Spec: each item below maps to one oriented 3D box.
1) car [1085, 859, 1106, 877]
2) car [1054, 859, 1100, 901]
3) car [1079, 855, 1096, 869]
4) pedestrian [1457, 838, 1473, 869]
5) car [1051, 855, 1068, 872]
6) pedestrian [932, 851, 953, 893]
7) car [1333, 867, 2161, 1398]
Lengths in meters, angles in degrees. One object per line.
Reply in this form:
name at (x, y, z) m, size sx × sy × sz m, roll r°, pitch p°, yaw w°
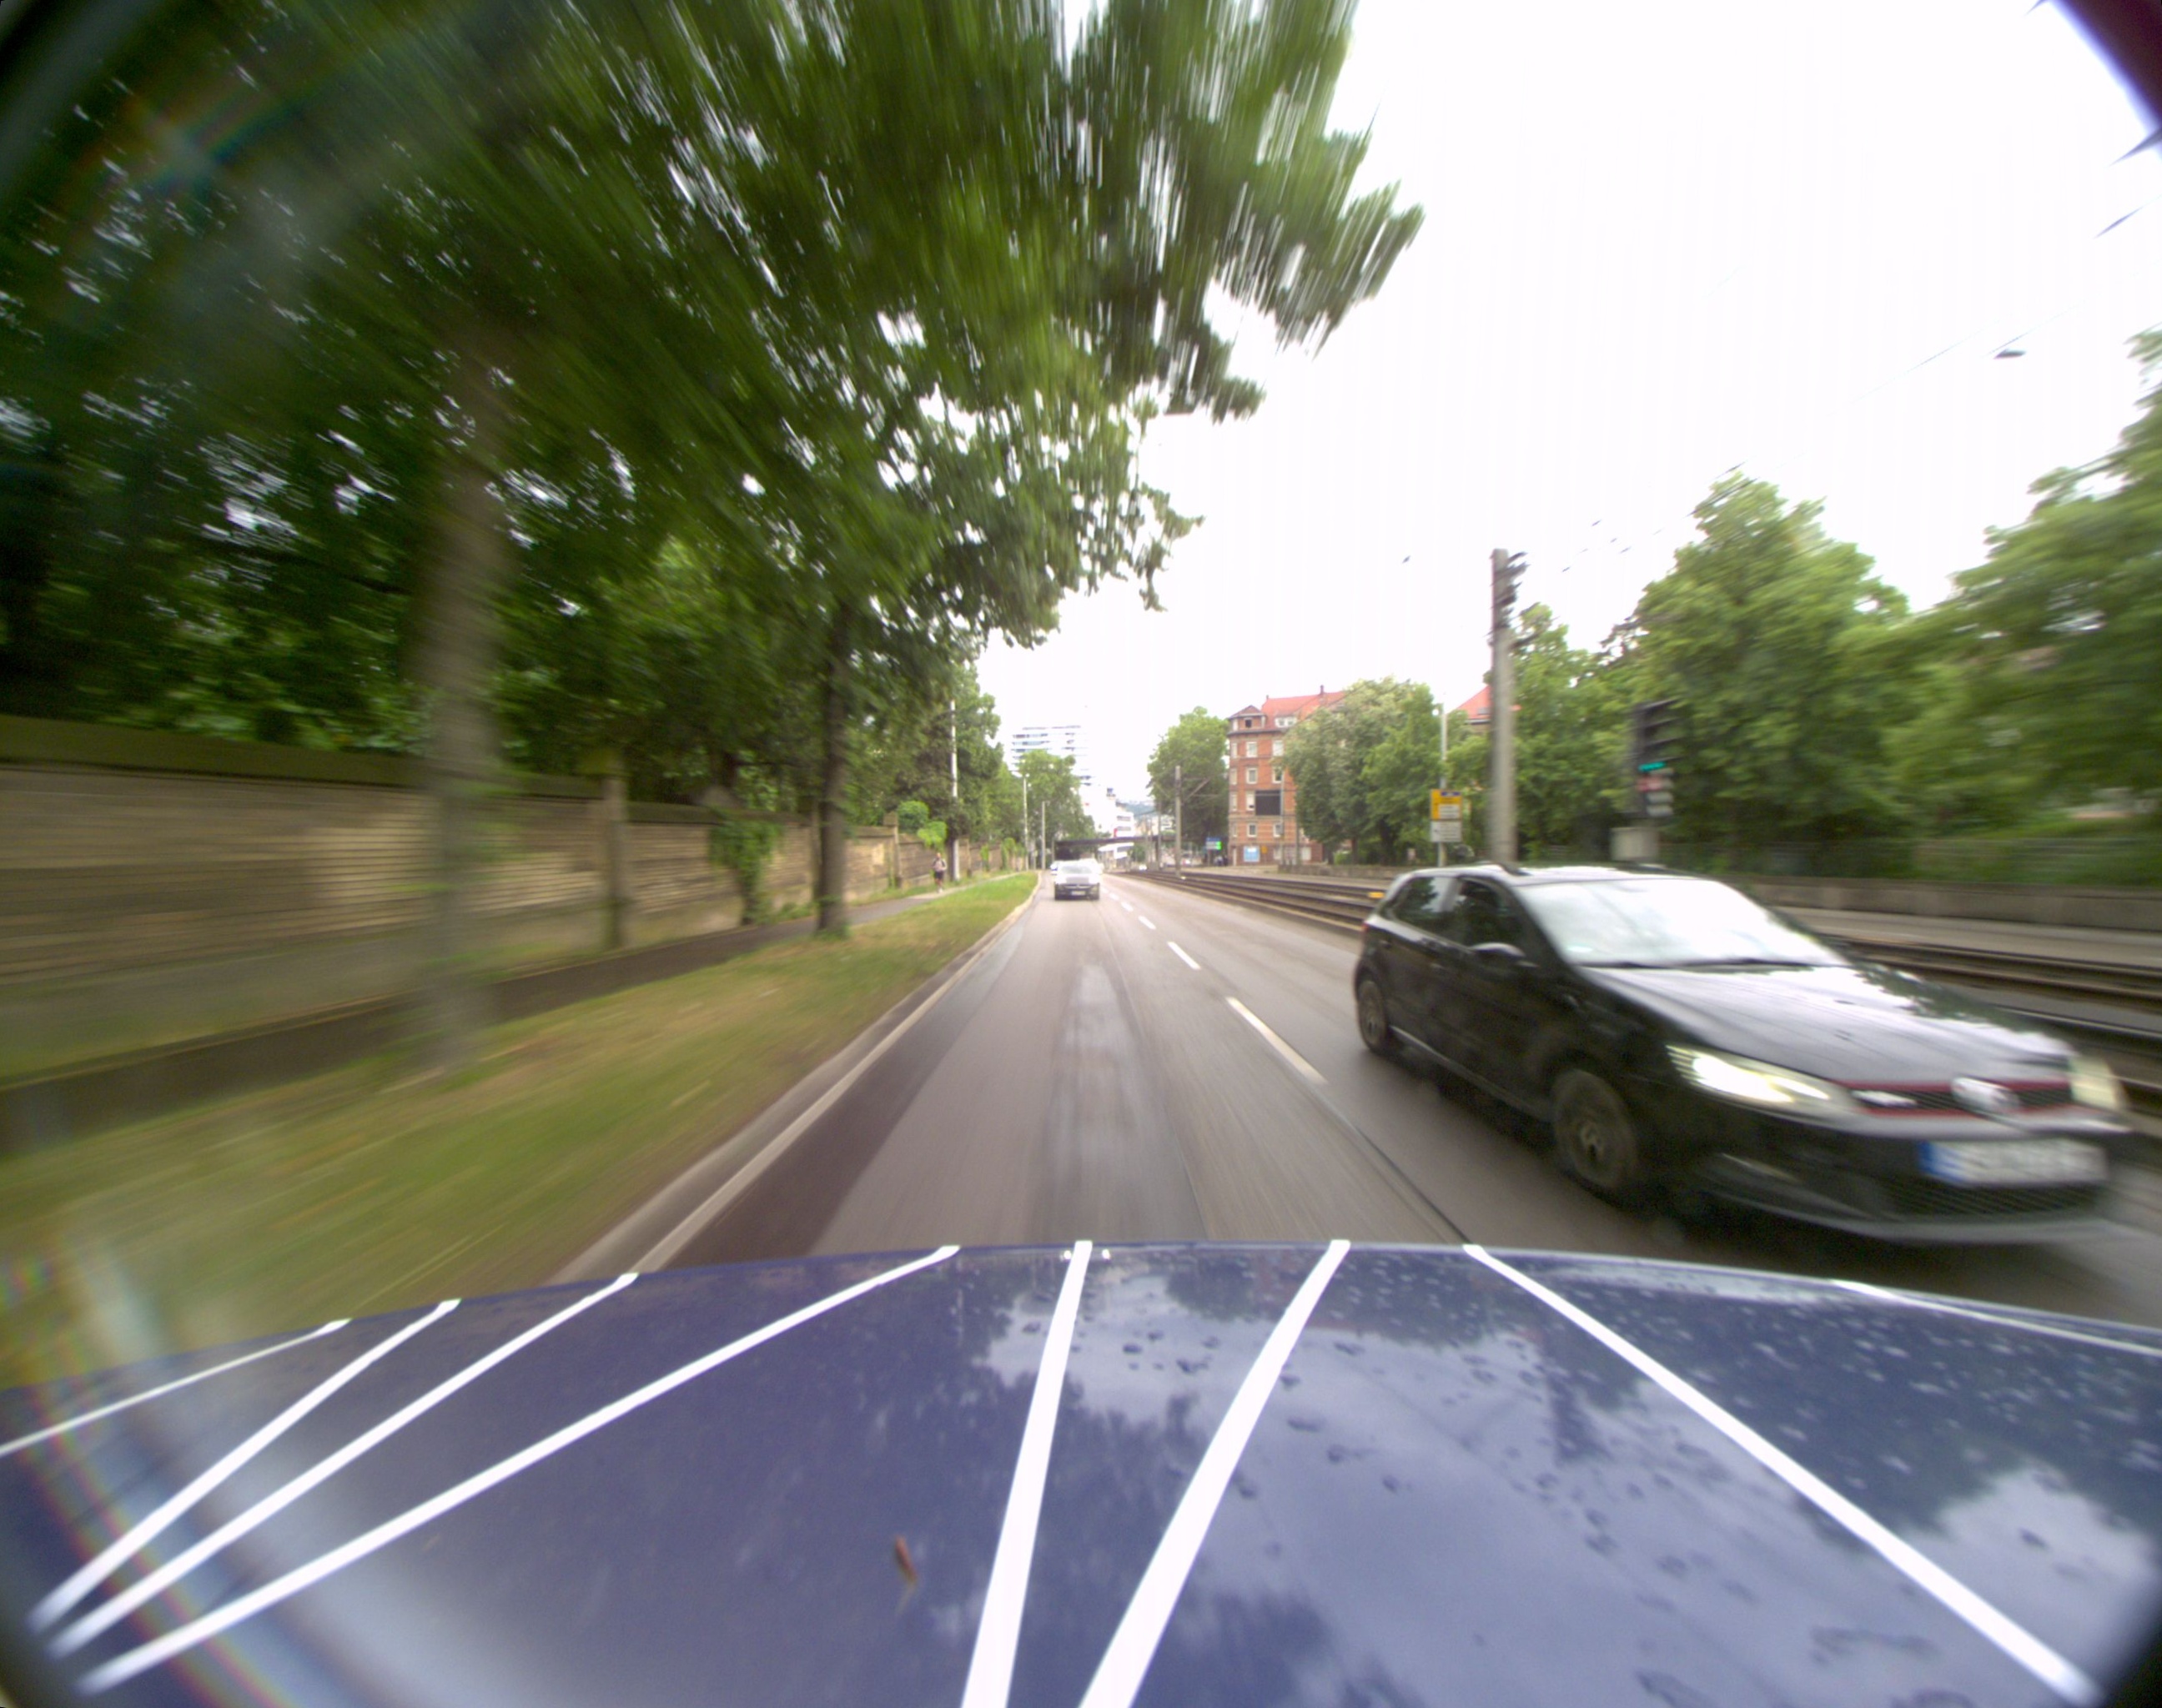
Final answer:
car at (1.245, 1.206, 67.907) m, size 1.806 × 1.483 × 4.102 m, roll -1°, pitch 0°, yaw 0°
car at (-0.168, 0.957, 29.706) m, size 1.658 × 1.483 × 3.829 m, roll -1°, pitch 0°, yaw 0°
car at (0.715, 0.916, 84.234) m, size 1.806 × 1.483 × 4.102 m, roll -1°, pitch 0°, yaw 0°
pedestrian at (23.636, -0.032, 46.803) m, size 0.597 × 1.892 × 0.654 m, roll -2°, pitch 1°, yaw -3°
car at (-2.773, 1.210, 99.811) m, size 1.998 × 2.002 × 4.000 m, roll -2°, pitch 0°, yaw 1°
pedestrian at (-5.990, 0.771, 32.824) m, size 0.710 × 1.769 × 0.900 m, roll -2°, pitch 1°, yaw -2°
car at (2.977, 0.853, 4.221) m, size 1.798 × 1.477 × 3.964 m, roll -1°, pitch 0°, yaw -1°
